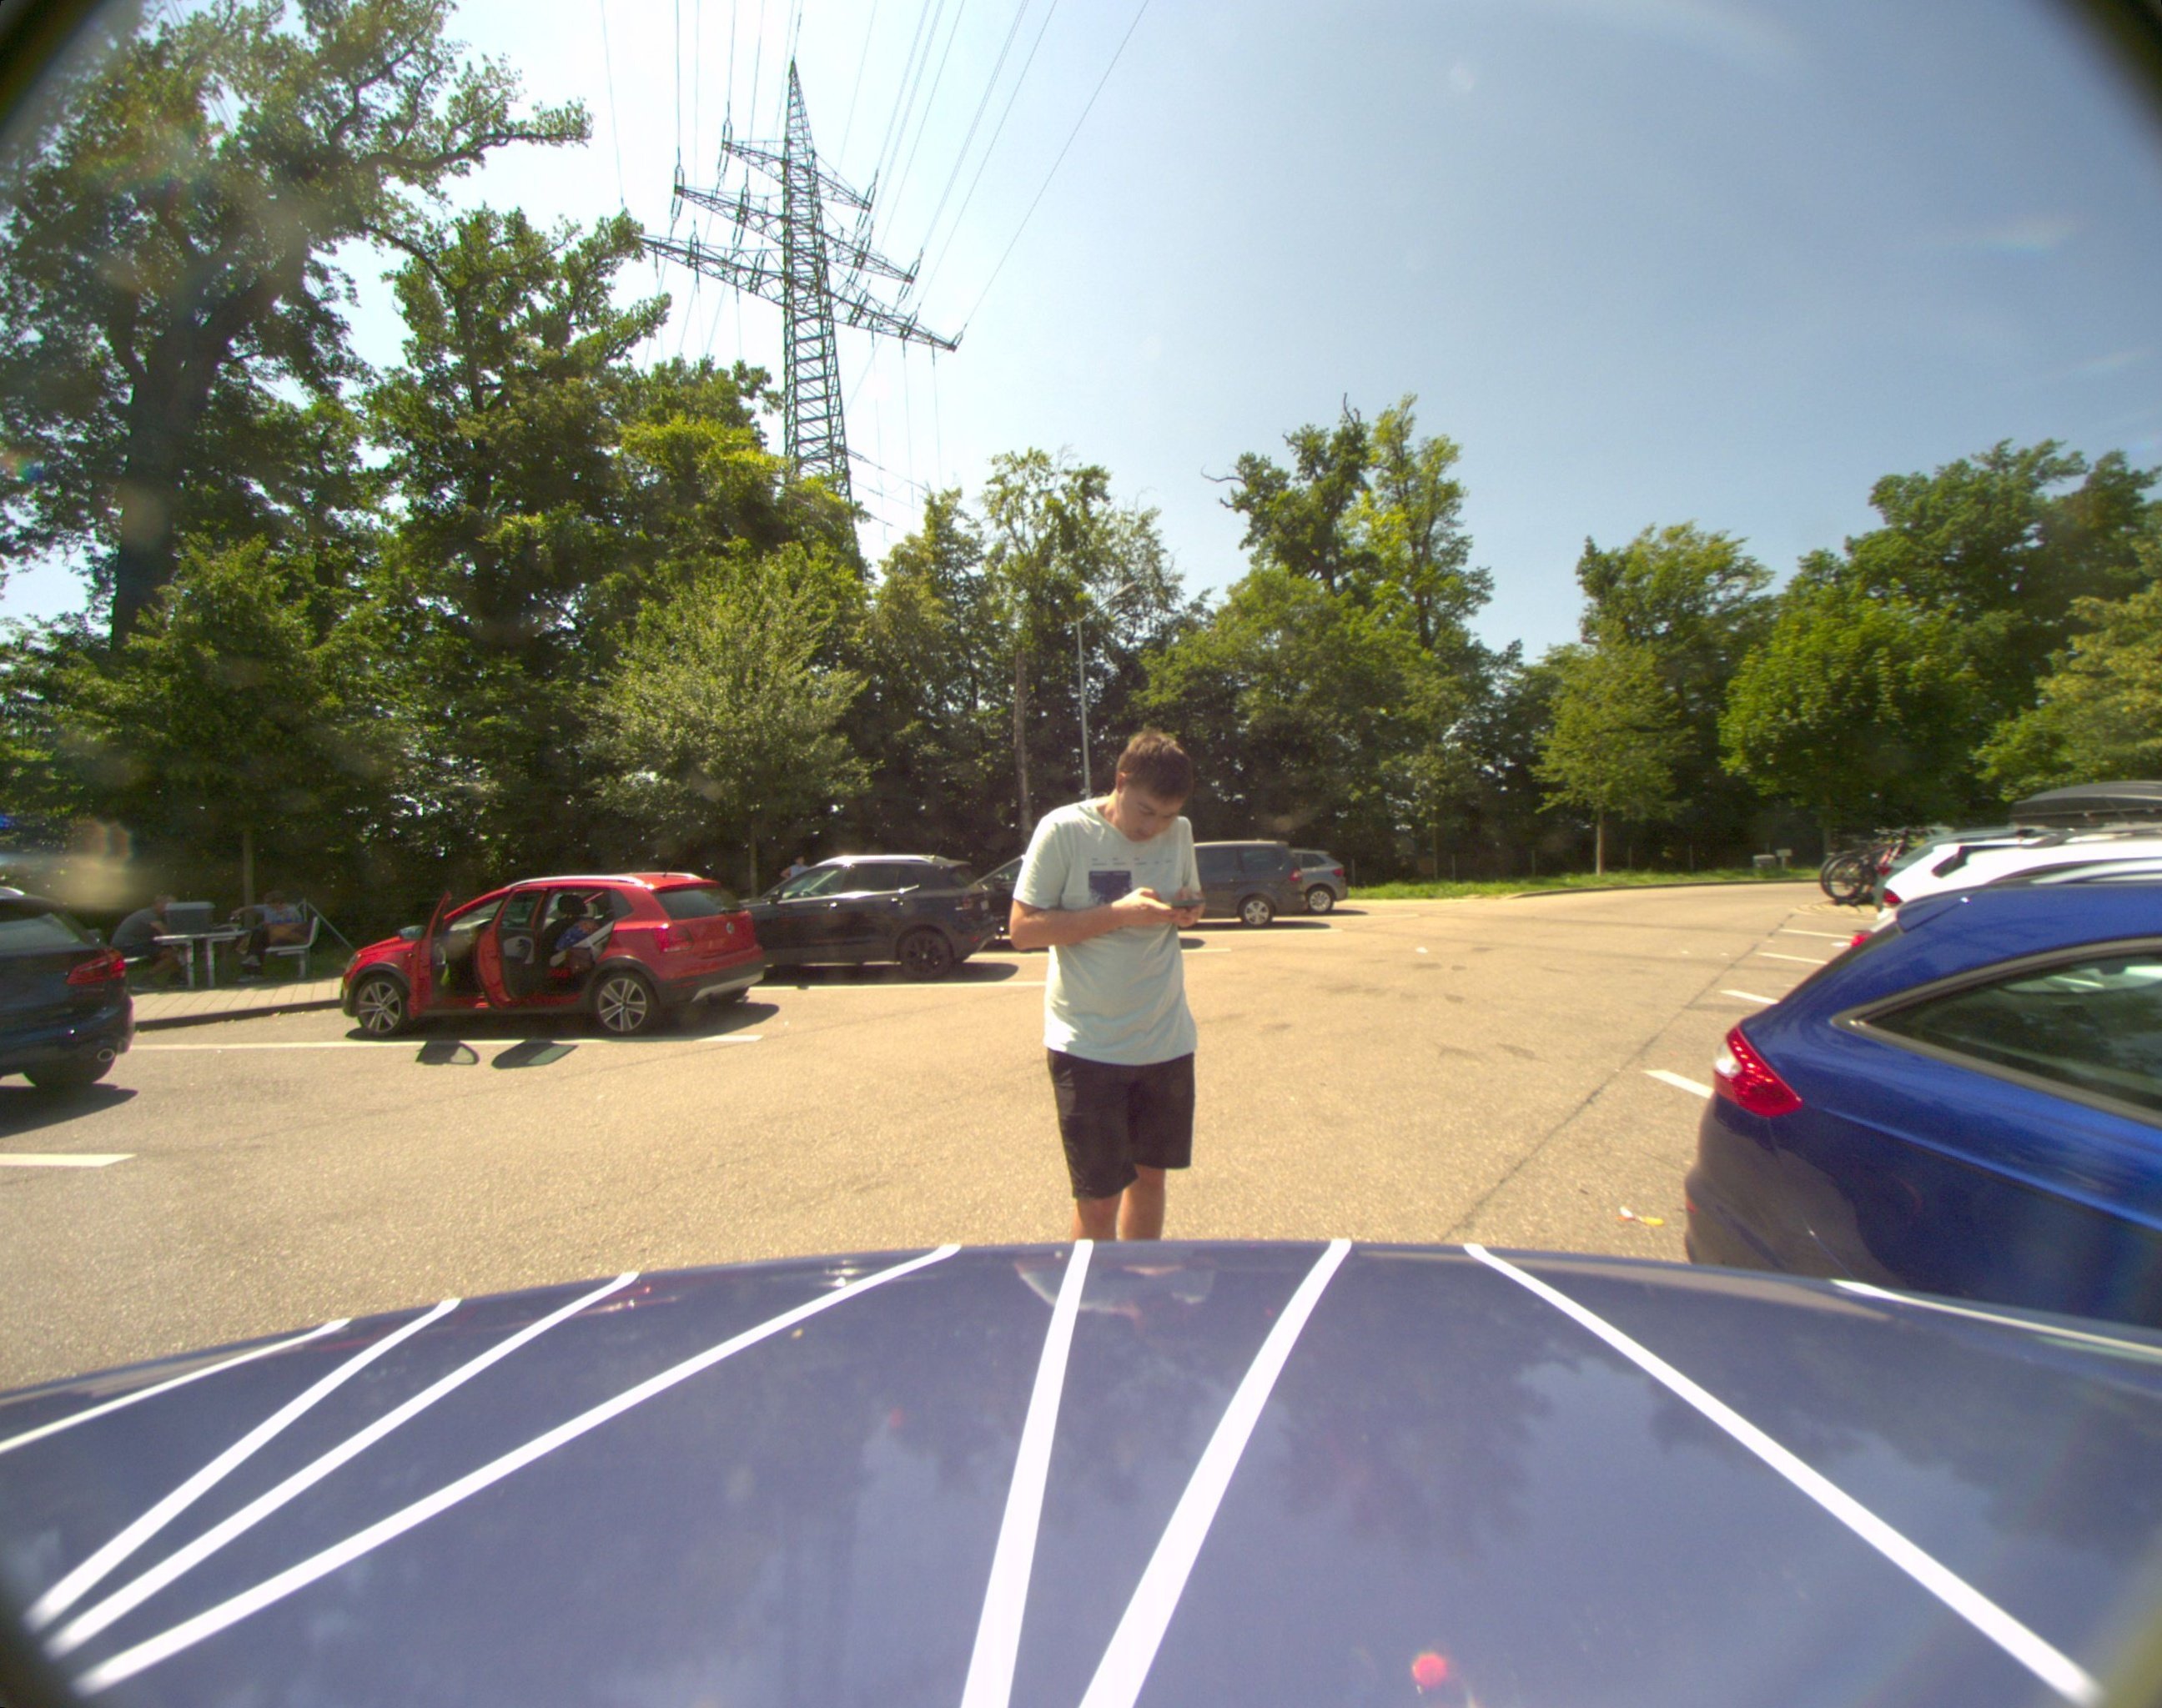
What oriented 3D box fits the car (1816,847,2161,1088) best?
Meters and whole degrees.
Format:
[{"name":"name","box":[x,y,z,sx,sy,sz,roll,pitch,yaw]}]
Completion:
[{"name":"car","box":[7.464,0.676,4.497,1.776,1.418,4.495,-3,-1,-1]}]

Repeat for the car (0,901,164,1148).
[{"name":"car","box":[-8.896,1.171,4.975,3.934,1.534,1.812,-2,0,7]}]

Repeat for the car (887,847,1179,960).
[{"name":"car","box":[-0.711,0.811,13.050,4.610,1.703,2.001,-2,1,10]}]

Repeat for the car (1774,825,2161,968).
[{"name":"car","box":[12.528,0.477,10.355,1.777,1.541,4.493,-3,-1,-5]}]

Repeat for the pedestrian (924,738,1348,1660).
[{"name":"pedestrian","box":[0.146,0.718,2.107,0.862,1.940,0.686,-3,1,-34]}]

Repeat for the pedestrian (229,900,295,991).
[{"name":"pedestrian","box":[-11.963,1.317,11.110,0.695,1.228,0.588,-3,0,43]}]

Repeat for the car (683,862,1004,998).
[{"name":"car","box":[-3.045,0.955,10.297,3.732,1.578,1.739,-2,0,2]}]

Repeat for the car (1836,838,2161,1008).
[{"name":"car","box":[10.097,0.572,6.883,1.777,1.418,4.493,-3,-1,-5]}]

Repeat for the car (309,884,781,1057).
[{"name":"car","box":[-5.201,1.098,7.620,3.730,1.440,1.591,-2,0,7]}]

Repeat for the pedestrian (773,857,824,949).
[{"name":"pedestrian","box":[-5.829,0.992,15.665,0.767,1.821,0.519,-3,2,-43]}]

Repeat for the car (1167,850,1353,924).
[{"name":"car","box":[4.131,0.747,17.993,3.996,1.495,1.687,-2,1,3]}]

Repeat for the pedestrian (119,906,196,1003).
[{"name":"pedestrian","box":[-12.644,1.351,10.421,0.695,1.228,0.588,-3,0,43]}]

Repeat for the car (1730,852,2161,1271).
[{"name":"car","box":[4.861,0.744,2.338,1.776,1.491,4.495,-3,-1,-1]}]

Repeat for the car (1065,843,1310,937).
[{"name":"car","box":[2.127,0.717,15.455,4.619,1.701,1.740,-2,0,9]}]
